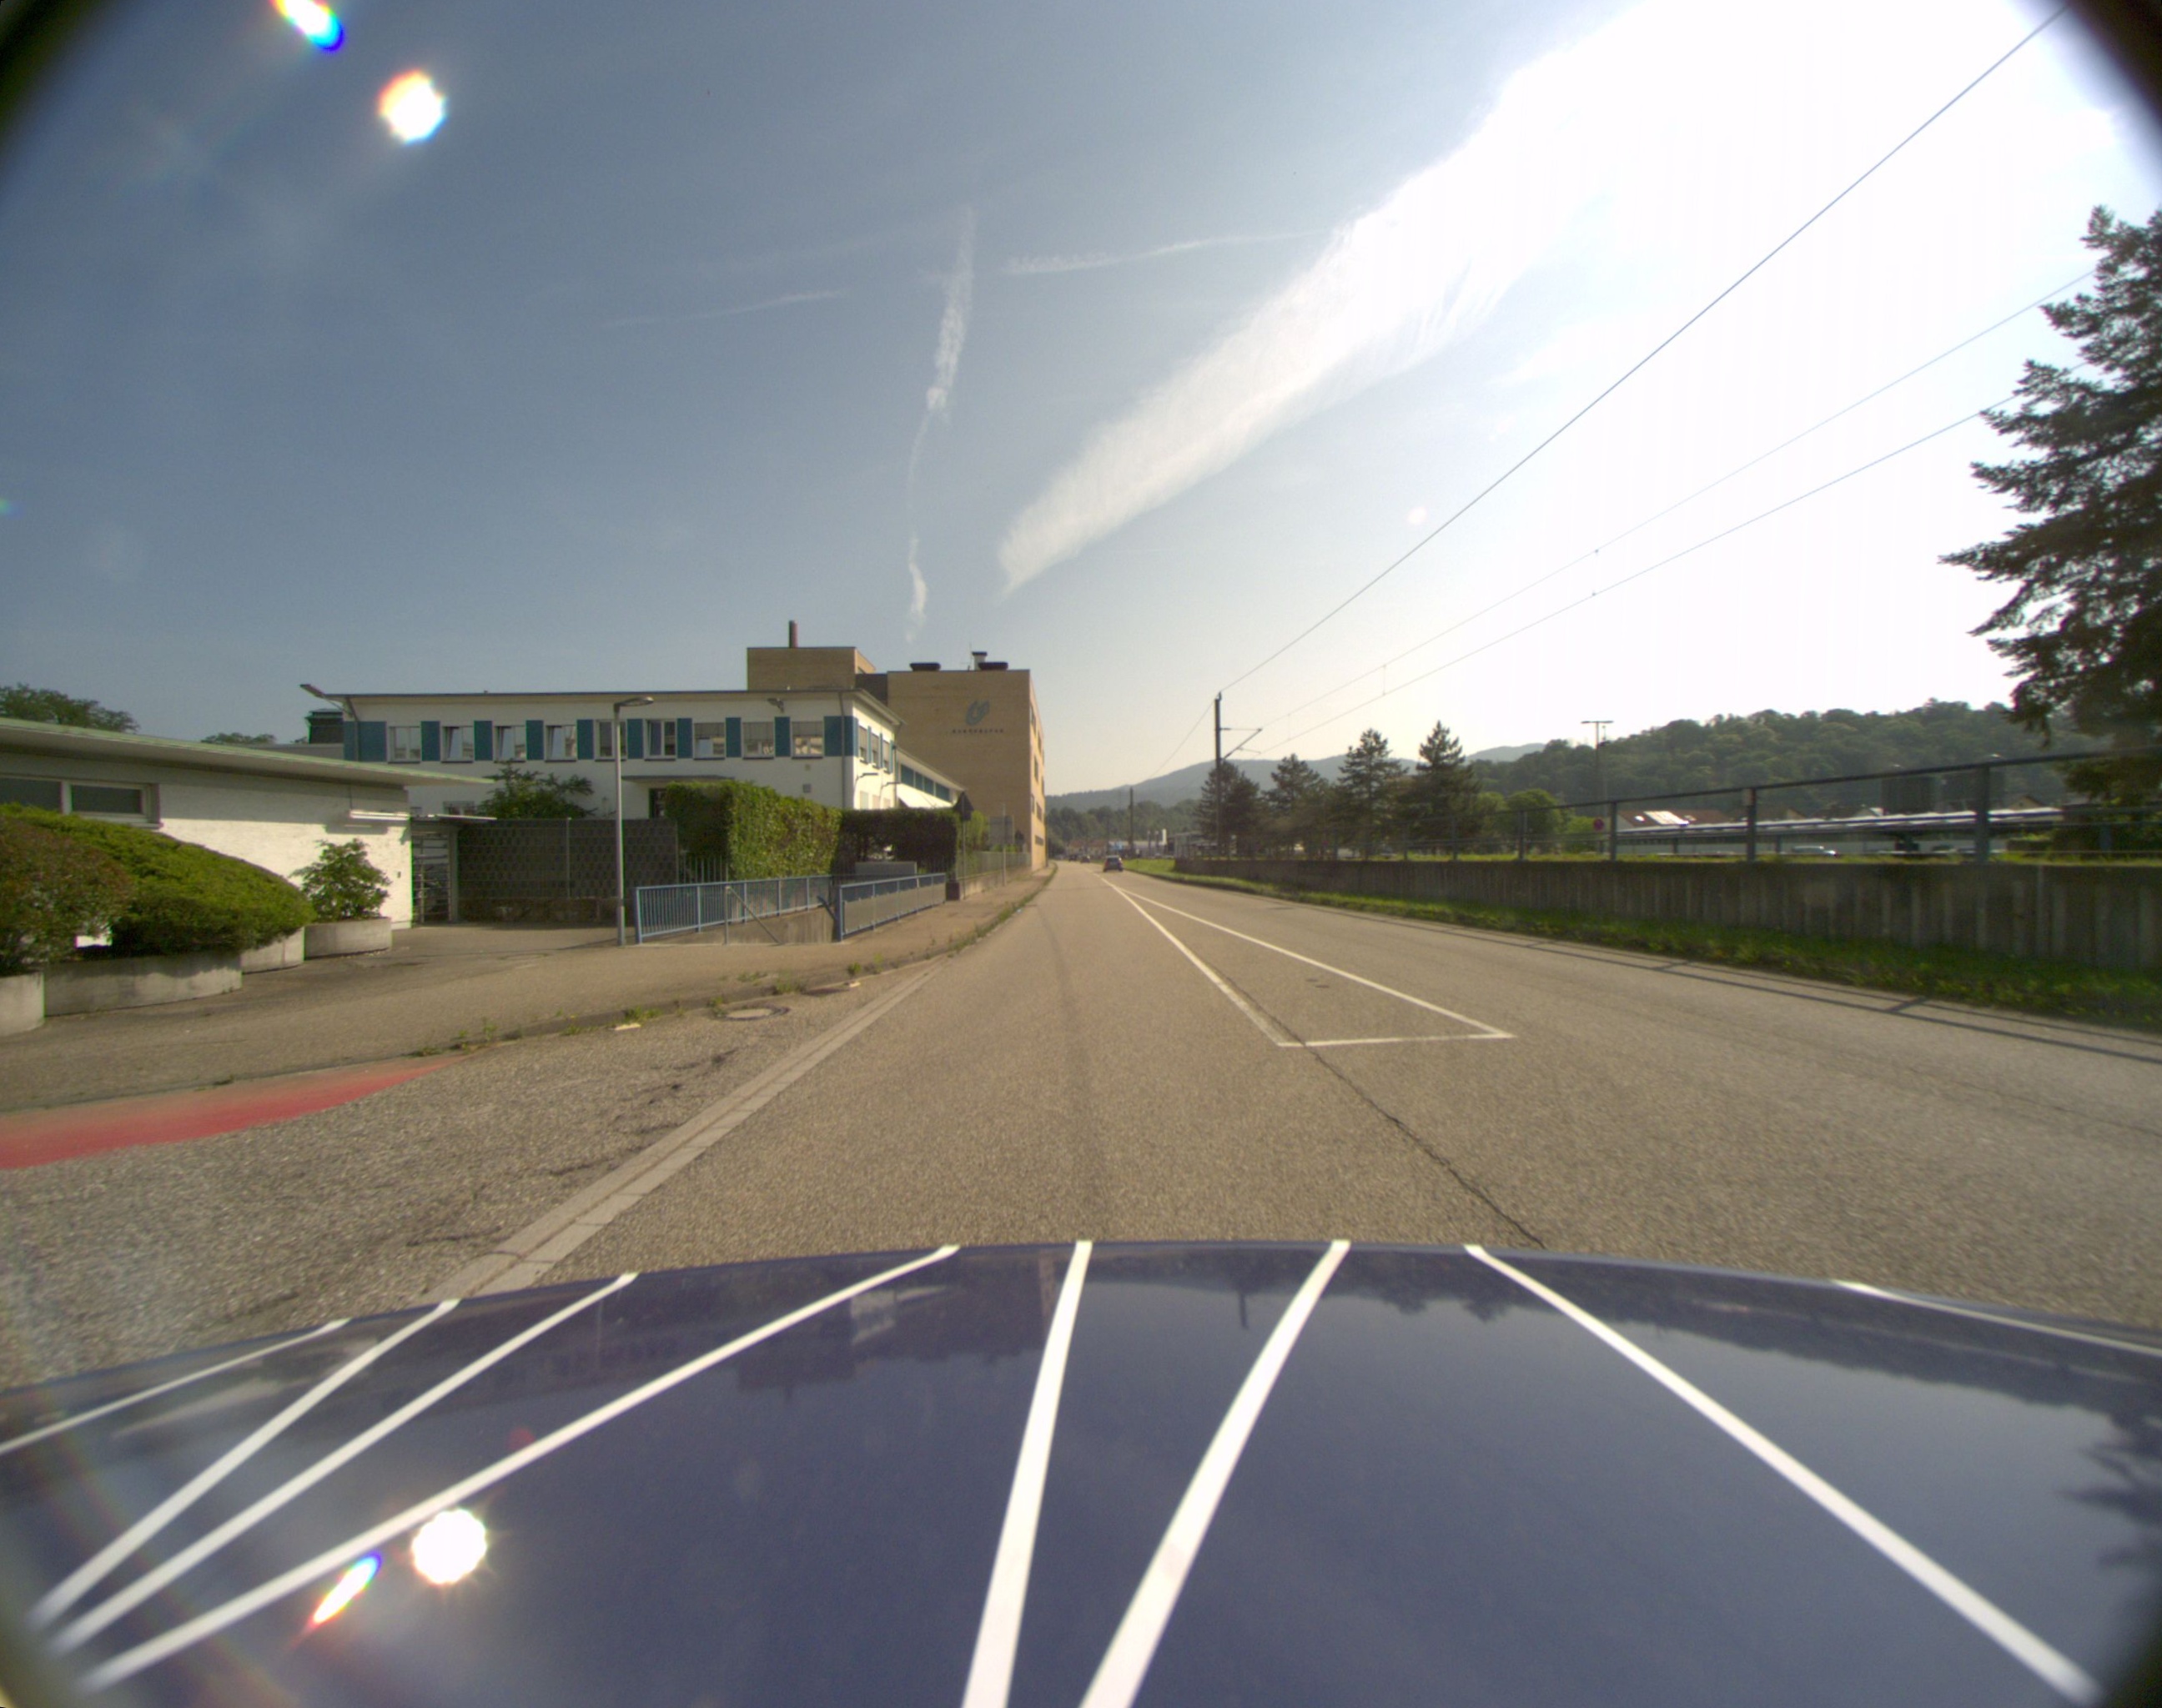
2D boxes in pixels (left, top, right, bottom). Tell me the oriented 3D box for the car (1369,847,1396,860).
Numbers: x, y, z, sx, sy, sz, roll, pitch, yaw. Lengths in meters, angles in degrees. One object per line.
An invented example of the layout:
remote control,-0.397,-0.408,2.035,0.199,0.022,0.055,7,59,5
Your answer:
car,32.121,-0.103,80.854,1.515,1.349,3.528,0,1,43

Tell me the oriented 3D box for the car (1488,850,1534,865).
car,38.015,0.310,67.178,3.527,1.317,1.460,0,1,31

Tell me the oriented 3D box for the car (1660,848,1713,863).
car,53.642,0.121,67.371,3.527,1.317,1.460,0,1,32

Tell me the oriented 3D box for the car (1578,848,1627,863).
car,46.045,0.128,67.179,3.527,1.317,1.460,0,1,32

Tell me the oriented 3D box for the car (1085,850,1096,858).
car,1.777,-0.019,142.669,1.736,1.517,4.091,-2,0,-1

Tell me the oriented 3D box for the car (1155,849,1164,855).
car,22.730,-0.631,221.185,1.523,1.679,4.367,-2,1,-9

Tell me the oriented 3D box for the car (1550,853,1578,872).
car,34.457,0.568,54.149,1.453,1.317,3.544,0,0,36

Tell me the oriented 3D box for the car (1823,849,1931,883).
car,39.732,0.578,37.965,4.000,1.527,1.816,-2,0,-10

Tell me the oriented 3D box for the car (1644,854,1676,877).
car,35.306,0.684,46.372,1.453,1.317,3.544,0,0,36

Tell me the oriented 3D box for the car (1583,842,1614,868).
car,34.775,0.059,51.029,1.641,1.678,3.813,0,0,35

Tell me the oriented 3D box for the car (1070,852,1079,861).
car,-1.595,0.687,188.704,1.763,2.066,4.806,-2,0,-3

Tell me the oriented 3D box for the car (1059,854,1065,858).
car,-6.100,0.619,246.657,1.772,1.397,4.295,0,0,-3

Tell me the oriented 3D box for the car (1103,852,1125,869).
car,3.194,0.616,73.512,1.746,1.498,4.198,-1,0,-2
